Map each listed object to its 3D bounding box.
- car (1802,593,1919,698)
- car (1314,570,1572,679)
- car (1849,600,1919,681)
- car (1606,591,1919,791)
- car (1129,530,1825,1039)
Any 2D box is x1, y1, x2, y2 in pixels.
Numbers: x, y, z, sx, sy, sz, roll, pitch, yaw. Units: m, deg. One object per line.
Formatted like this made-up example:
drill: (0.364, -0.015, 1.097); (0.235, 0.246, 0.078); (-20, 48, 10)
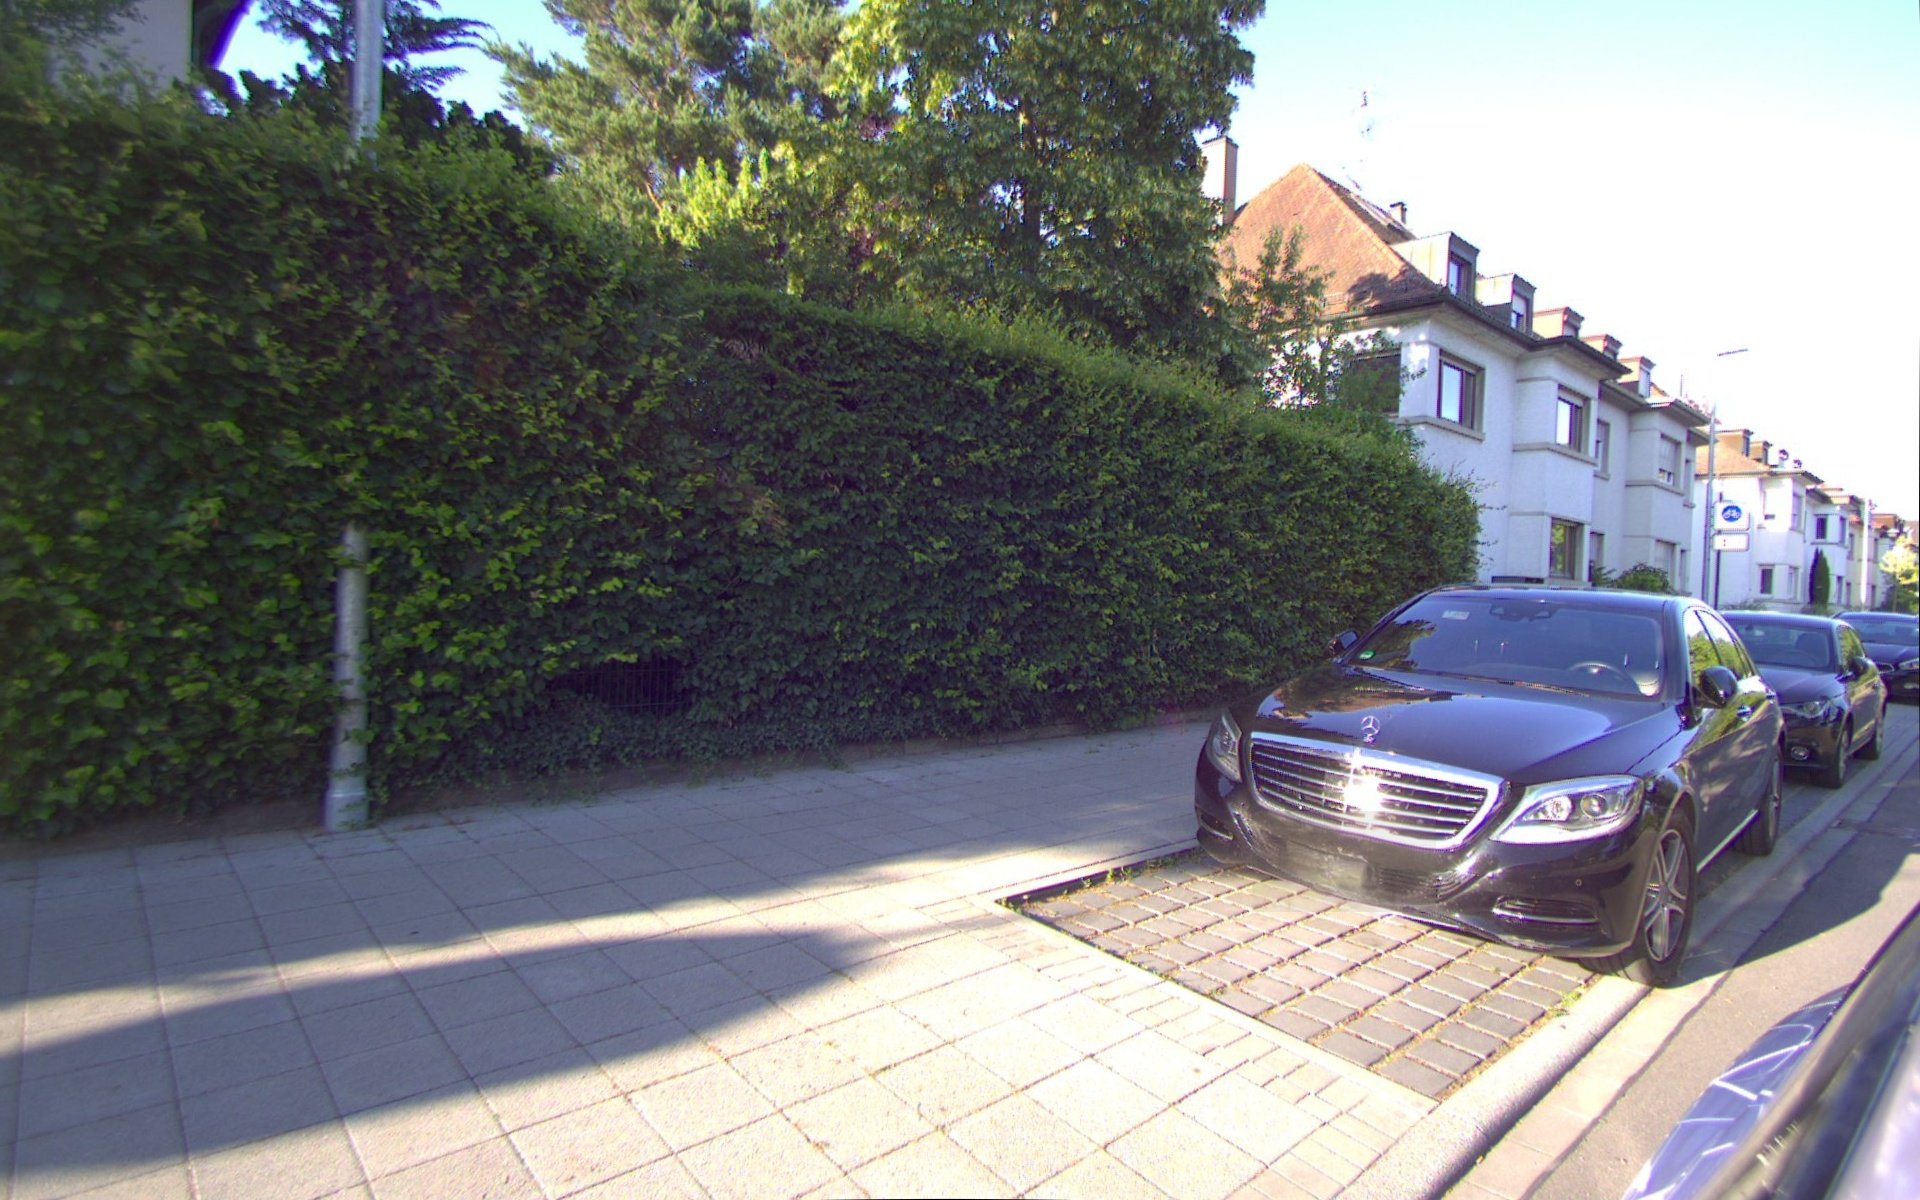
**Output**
car: (16.047, 0.736, 17.438); (4.183, 1.492, 1.750); (1, 5, -43)
car: (8.323, 0.350, 17.626); (3.637, 1.514, 1.752); (6, 4, 45)
car: (19.897, 0.818, 20.994); (3.916, 1.489, 1.721); (1, 4, -43)
car: (7.786, 0.711, 9.686); (3.868, 1.445, 1.644); (1, 3, -42)
car: (3.141, 0.542, 5.492); (4.792, 1.561, 1.861); (0, 3, -44)
